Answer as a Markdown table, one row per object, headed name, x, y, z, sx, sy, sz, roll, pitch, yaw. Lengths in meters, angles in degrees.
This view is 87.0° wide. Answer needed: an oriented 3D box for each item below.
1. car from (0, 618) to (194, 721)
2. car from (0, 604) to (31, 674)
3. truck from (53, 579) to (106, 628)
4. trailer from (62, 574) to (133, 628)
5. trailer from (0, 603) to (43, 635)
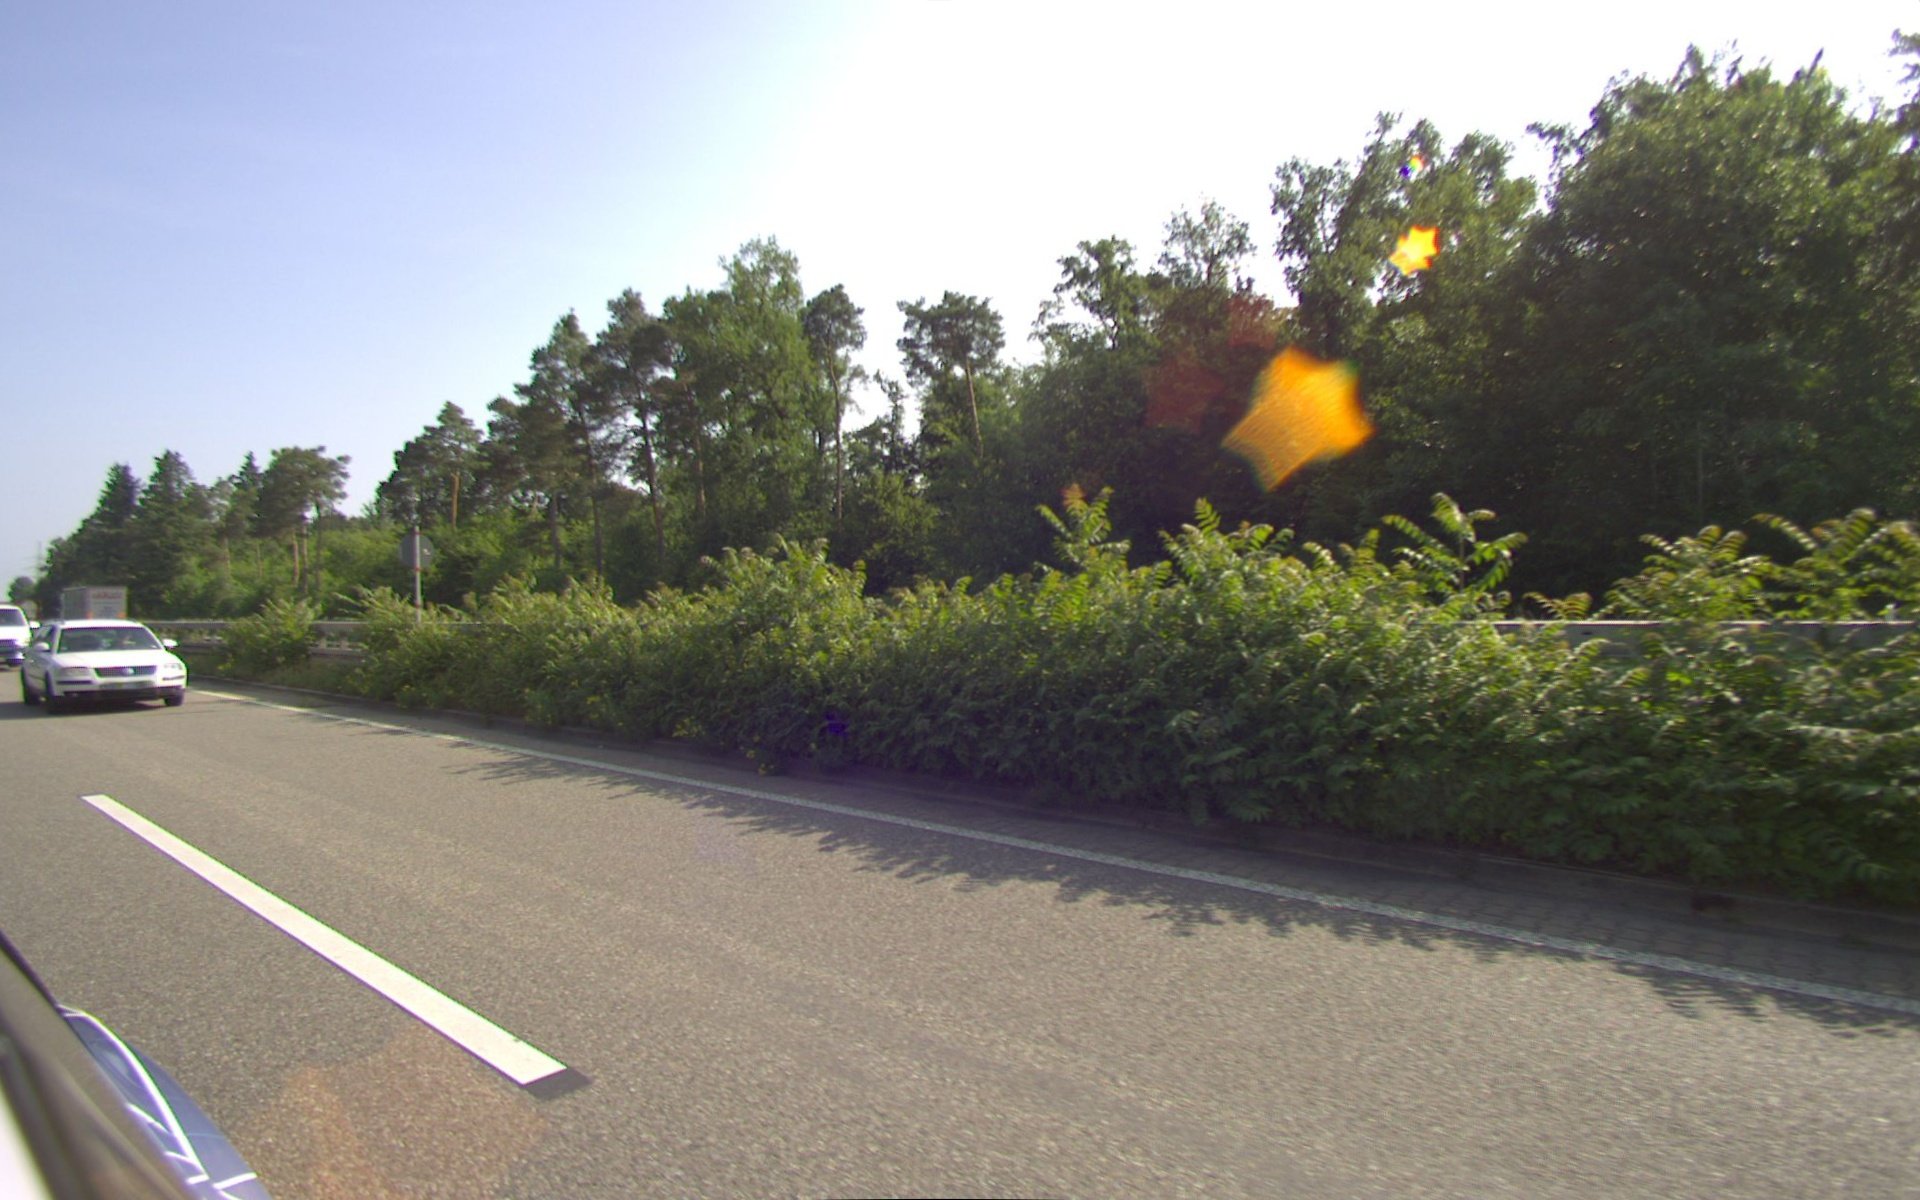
| name | x | y | z | sx | sy | sz | roll | pitch | yaw |
| --- | --- | --- | --- | --- | --- | --- | --- | --- | --- |
| car | -14.998 | 1.090 | 17.423 | 5.259 | 1.497 | 1.732 | -1 | -1 | 40 |
| car | -29.005 | 1.131 | 29.825 | 4.704 | 1.960 | 1.888 | -1 | -1 | 41 |
| truck | -78.773 | 0.329 | 90.543 | 5.543 | 4.228 | 2.808 | -1 | -2 | 41 |
| trailer | -72.957 | 0.190 | 85.487 | 12.405 | 4.241 | 2.803 | -1 | -2 | 41 |
| trailer | -122.571 | 2.467 | 132.174 | 8.369 | 4.070 | 3.261 | -1 | 0 | 41 |
